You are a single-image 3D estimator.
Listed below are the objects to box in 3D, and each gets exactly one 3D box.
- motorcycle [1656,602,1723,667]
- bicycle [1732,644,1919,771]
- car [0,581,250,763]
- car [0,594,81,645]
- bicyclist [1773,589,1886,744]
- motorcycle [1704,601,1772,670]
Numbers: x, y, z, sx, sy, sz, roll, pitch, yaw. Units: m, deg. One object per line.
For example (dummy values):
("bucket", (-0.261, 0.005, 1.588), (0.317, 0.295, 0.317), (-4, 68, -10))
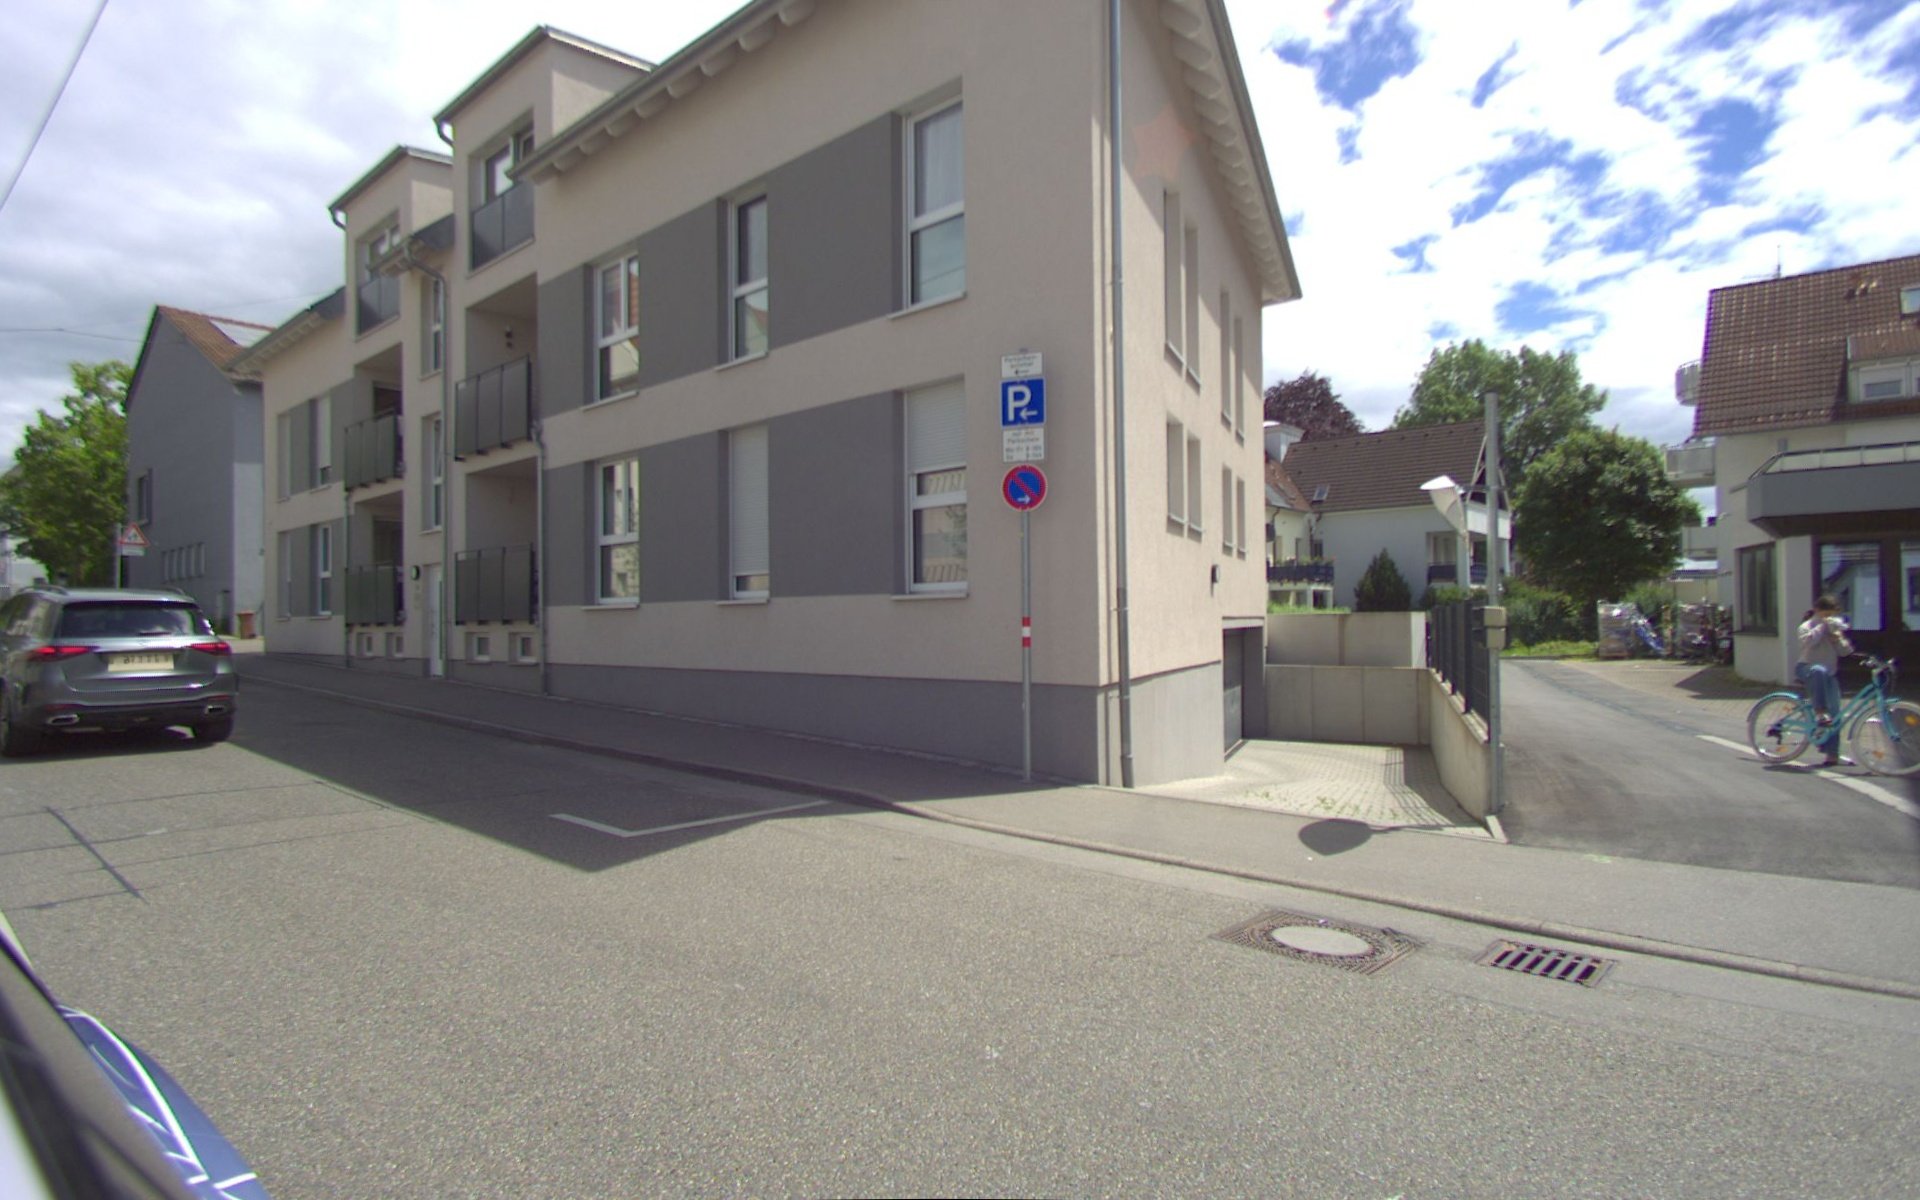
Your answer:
("motorcycle", (18.128, 0.823, 25.107), (0.860, 1.530, 3.567), (-2, -2, 44))
("bicycle", (7.315, 0.844, 8.301), (0.451, 0.924, 1.593), (-1, -1, -14))
("car", (-10.268, 0.753, 11.816), (4.589, 1.732, 1.923), (-2, -2, 37))
("car", (-30.610, 0.620, 33.518), (4.066, 1.499, 1.714), (2, 0, 42))
("bicyclist", (7.268, 0.535, 8.469), (0.631, 1.251, 0.428), (0, 0, -16))
("motorcycle", (18.492, 0.803, 23.997), (0.860, 1.530, 3.749), (-2, -2, 44))
